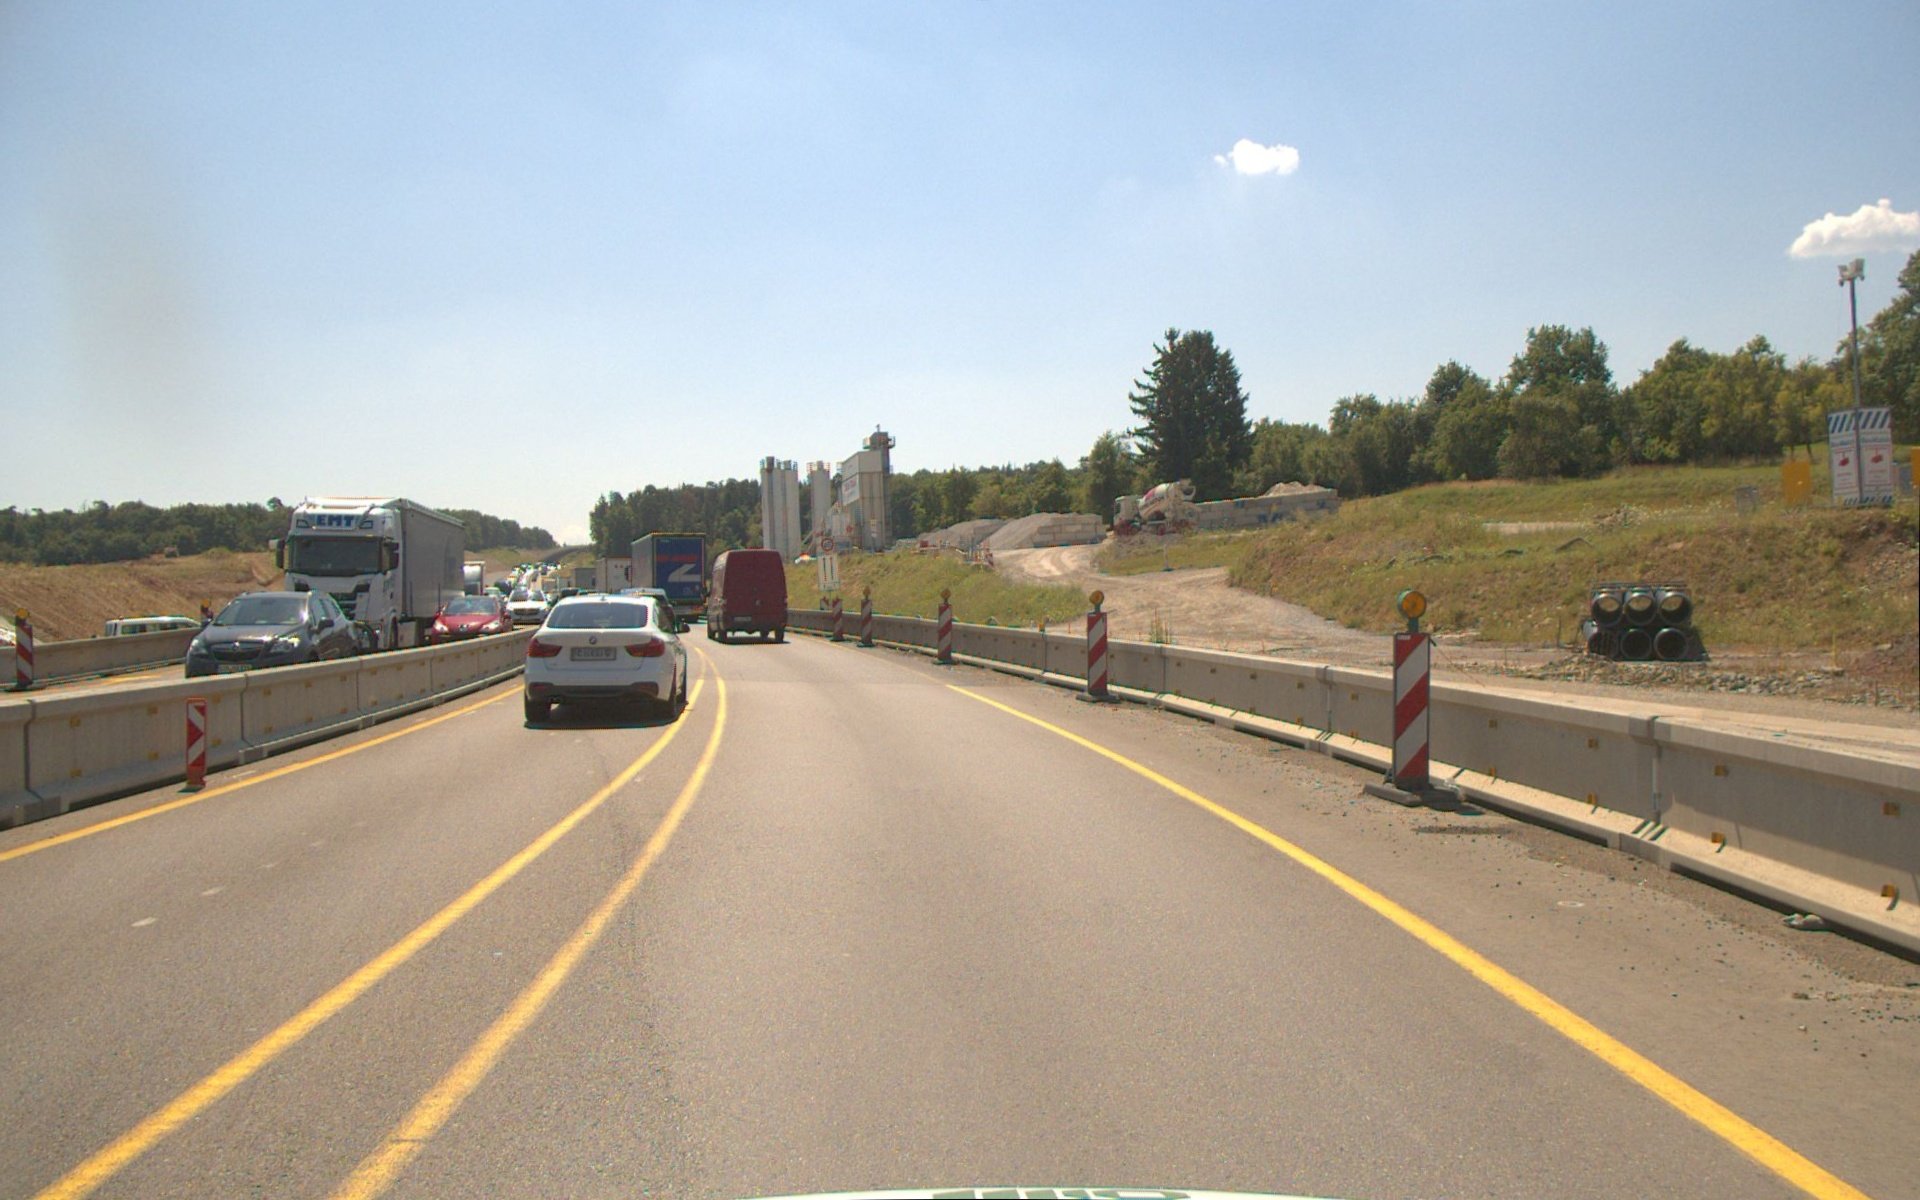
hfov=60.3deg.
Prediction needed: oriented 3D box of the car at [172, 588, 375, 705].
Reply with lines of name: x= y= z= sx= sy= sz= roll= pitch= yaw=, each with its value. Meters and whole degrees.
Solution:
car: x=-10.711 y=0.653 z=26.135 sx=1.628 sy=1.633 sz=4.392 roll=-2 pitch=1 yaw=-5

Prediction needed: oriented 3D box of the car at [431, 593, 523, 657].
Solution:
car: x=-12.344 y=0.608 z=42.489 sx=1.637 sy=1.501 sz=3.963 roll=-2 pitch=1 yaw=-8

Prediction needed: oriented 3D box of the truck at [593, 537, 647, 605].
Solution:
truck: x=-25.246 y=-2.098 z=123.212 sx=3.617 sy=4.773 sz=9.728 roll=-2 pitch=1 yaw=-10

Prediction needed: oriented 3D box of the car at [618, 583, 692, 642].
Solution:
car: x=-8.723 y=0.325 z=47.548 sx=1.760 sy=1.561 sz=3.926 roll=-2 pitch=1 yaw=-6

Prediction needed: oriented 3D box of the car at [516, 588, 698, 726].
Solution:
car: x=-4.464 y=0.635 z=21.599 sx=1.760 sy=1.561 sz=5.067 roll=0 pitch=1 yaw=-6

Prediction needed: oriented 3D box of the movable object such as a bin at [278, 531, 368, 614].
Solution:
movable object such as a bin: x=-62.017 y=-2.694 z=161.233 sx=7.509 sy=7.848 sz=3.433 roll=-2 pitch=0 yaw=-14

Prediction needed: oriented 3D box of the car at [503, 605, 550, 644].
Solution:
car: x=-18.171 y=0.987 z=69.485 sx=1.765 sy=1.501 sz=4.760 roll=-2 pitch=1 yaw=-14

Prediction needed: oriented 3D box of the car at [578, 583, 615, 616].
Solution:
car: x=-18.761 y=-0.045 z=85.379 sx=1.770 sy=1.607 sz=3.988 roll=-2 pitch=1 yaw=-12

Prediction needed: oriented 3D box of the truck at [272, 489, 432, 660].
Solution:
truck: x=-15.833 y=-0.659 z=43.458 sx=2.650 sy=4.132 sz=5.492 roll=-2 pitch=1 yaw=-7

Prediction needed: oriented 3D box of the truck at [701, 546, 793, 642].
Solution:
truck: x=-6.601 y=-0.190 z=50.564 sx=2.076 sy=2.679 sz=6.462 roll=-2 pitch=1 yaw=-13

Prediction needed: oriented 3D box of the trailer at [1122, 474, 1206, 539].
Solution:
trailer: x=14.290 y=-6.527 z=116.237 sx=2.720 sy=4.186 sz=6.695 roll=-2 pitch=1 yaw=-24

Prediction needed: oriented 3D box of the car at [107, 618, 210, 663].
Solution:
car: x=-29.928 y=1.497 z=61.777 sx=3.173 sy=1.480 sz=1.525 roll=-2 pitch=1 yaw=-41

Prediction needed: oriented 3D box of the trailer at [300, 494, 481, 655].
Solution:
trailer: x=-17.097 y=-0.727 z=50.804 sx=2.709 sy=4.186 sz=13.948 roll=-2 pitch=1 yaw=-9

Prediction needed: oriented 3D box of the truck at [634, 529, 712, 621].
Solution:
truck: x=-14.099 y=-1.188 z=80.821 sx=2.965 sy=4.225 sz=8.240 roll=-2 pitch=1 yaw=-15

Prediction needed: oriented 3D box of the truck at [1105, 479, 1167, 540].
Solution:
truck: x=12.733 y=-6.501 z=119.814 sx=2.709 sy=4.167 sz=4.069 roll=-2 pitch=1 yaw=-24

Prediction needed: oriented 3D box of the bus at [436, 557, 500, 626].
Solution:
bus: x=-24.269 y=-0.413 z=81.810 sx=2.308 sy=3.180 sz=7.208 roll=-2 pitch=1 yaw=-12
